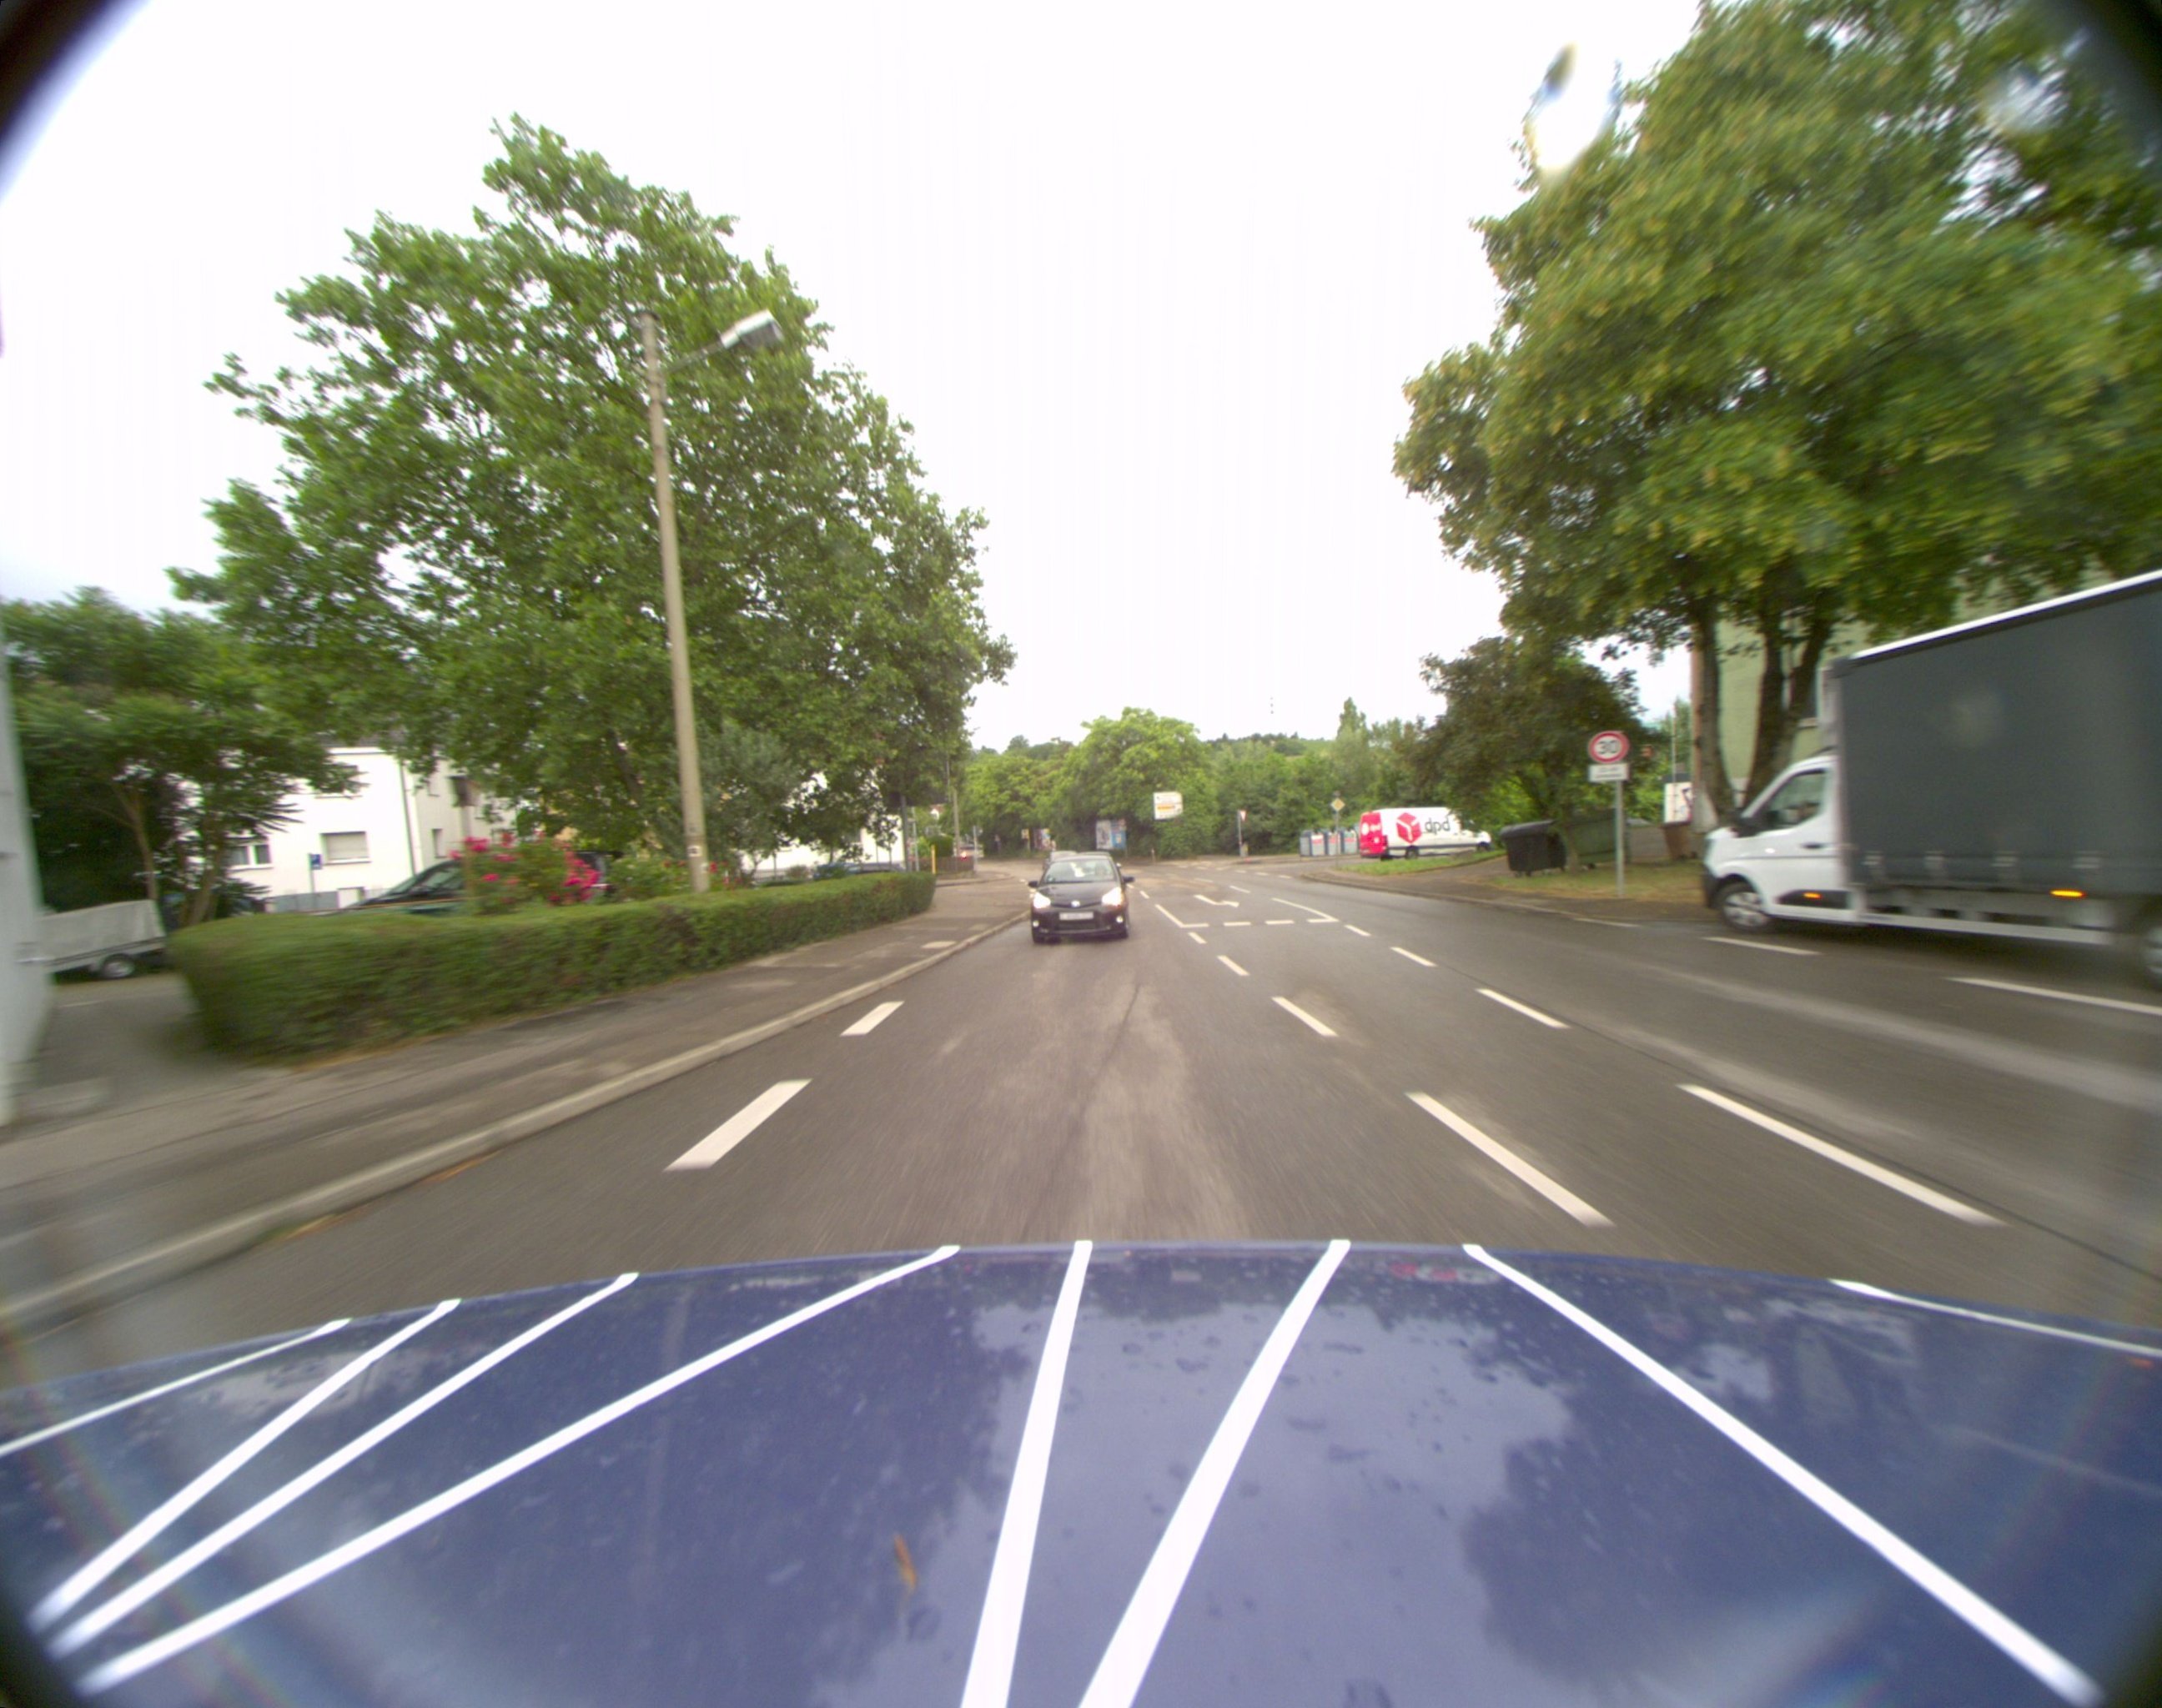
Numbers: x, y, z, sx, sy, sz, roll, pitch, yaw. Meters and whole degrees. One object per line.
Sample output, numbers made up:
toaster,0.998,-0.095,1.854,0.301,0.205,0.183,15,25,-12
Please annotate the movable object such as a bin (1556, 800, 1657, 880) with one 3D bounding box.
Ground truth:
movable object such as a bin,12.855,-0.341,18.591,1.580,1.750,1.450,-4,-2,-36

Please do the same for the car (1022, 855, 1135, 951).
car,0.093,0.815,14.505,1.644,1.450,4.001,-4,0,6

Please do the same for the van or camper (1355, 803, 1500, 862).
van or camper,17.197,-1.048,37.696,6.701,2.507,2.220,-4,1,-18

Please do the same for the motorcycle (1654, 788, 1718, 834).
motorcycle,18.172,-1.299,22.833,1.481,1.190,0.431,-7,4,2

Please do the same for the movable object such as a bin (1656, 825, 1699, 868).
movable object such as a bin,13.572,-0.166,17.297,0.542,0.904,0.561,-4,-1,-36

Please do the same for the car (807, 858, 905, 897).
car,-10.085,1.029,34.065,4.003,1.456,1.858,-3,1,-21

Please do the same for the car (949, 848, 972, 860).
car,-16.227,0.036,101.741,1.844,1.548,5.564,-4,1,-21

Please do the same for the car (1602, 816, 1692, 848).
car,31.791,-1.215,42.701,4.071,1.521,1.997,-4,1,-18

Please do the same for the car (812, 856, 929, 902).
car,-8.679,0.981,31.265,4.396,1.505,1.997,-4,1,-20

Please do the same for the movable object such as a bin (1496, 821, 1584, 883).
movable object such as a bin,11.955,-0.041,19.803,1.475,1.432,1.374,-4,-2,-36

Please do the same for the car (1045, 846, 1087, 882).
car,-0.794,0.438,37.223,1.708,1.548,3.998,-3,1,-5

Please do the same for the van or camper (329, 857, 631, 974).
van or camper,-11.980,1.134,15.579,4.331,1.893,1.997,-4,1,-20

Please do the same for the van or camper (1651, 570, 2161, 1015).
van or camper,9.493,-0.539,7.093,2.704,3.315,7.762,-3,1,3

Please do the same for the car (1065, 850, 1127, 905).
car,0.415,0.701,24.565,1.645,1.548,3.627,-3,1,-3
